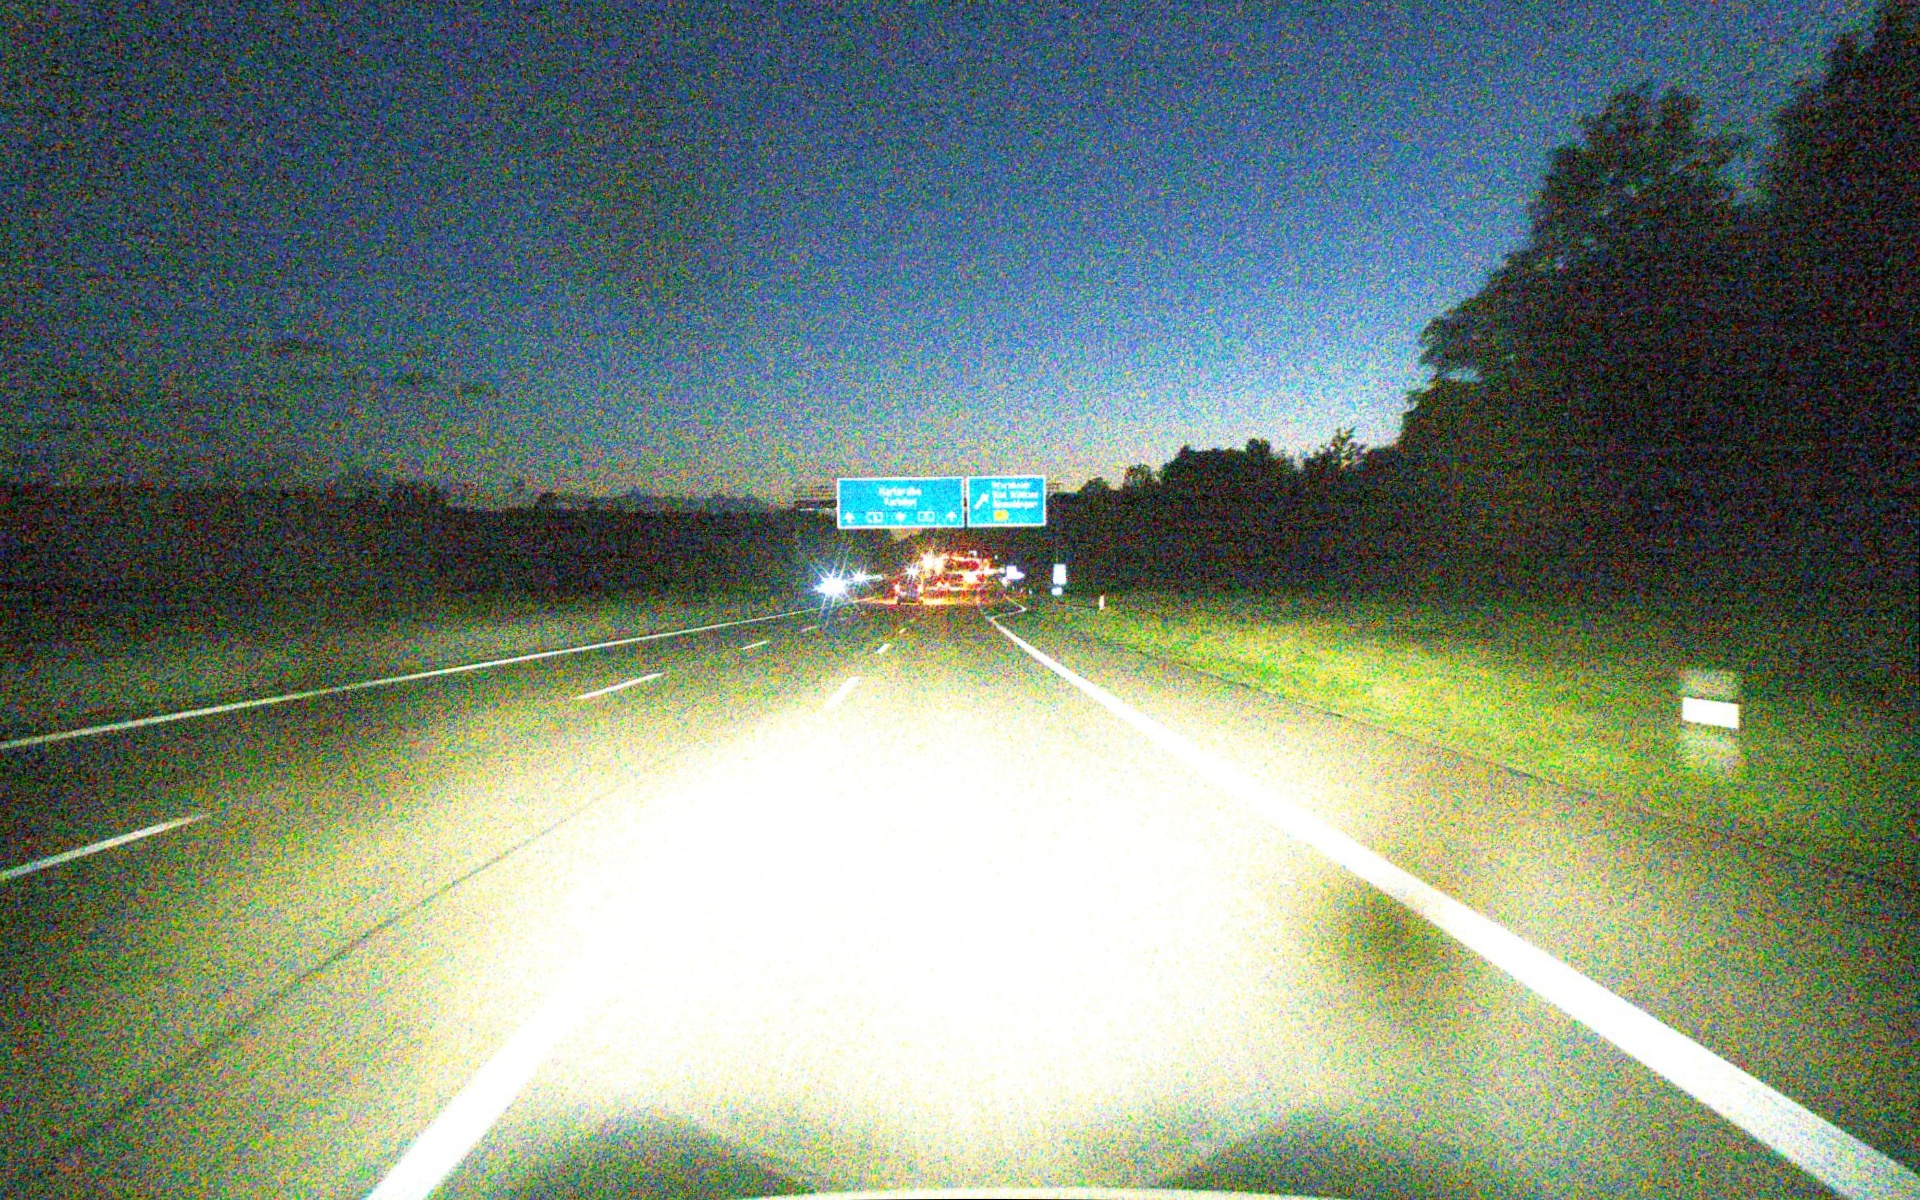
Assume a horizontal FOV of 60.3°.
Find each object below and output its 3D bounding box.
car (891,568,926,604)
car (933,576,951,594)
[{"bbox_3d":[-4.055,-1.066,129.961,2.730,2.781,6.296,0,0,-2],"label":"car"},{"bbox_3d":[-2.784,-2.313,259.823,2.729,2.781,6.298,0,0,0],"label":"car"}]
